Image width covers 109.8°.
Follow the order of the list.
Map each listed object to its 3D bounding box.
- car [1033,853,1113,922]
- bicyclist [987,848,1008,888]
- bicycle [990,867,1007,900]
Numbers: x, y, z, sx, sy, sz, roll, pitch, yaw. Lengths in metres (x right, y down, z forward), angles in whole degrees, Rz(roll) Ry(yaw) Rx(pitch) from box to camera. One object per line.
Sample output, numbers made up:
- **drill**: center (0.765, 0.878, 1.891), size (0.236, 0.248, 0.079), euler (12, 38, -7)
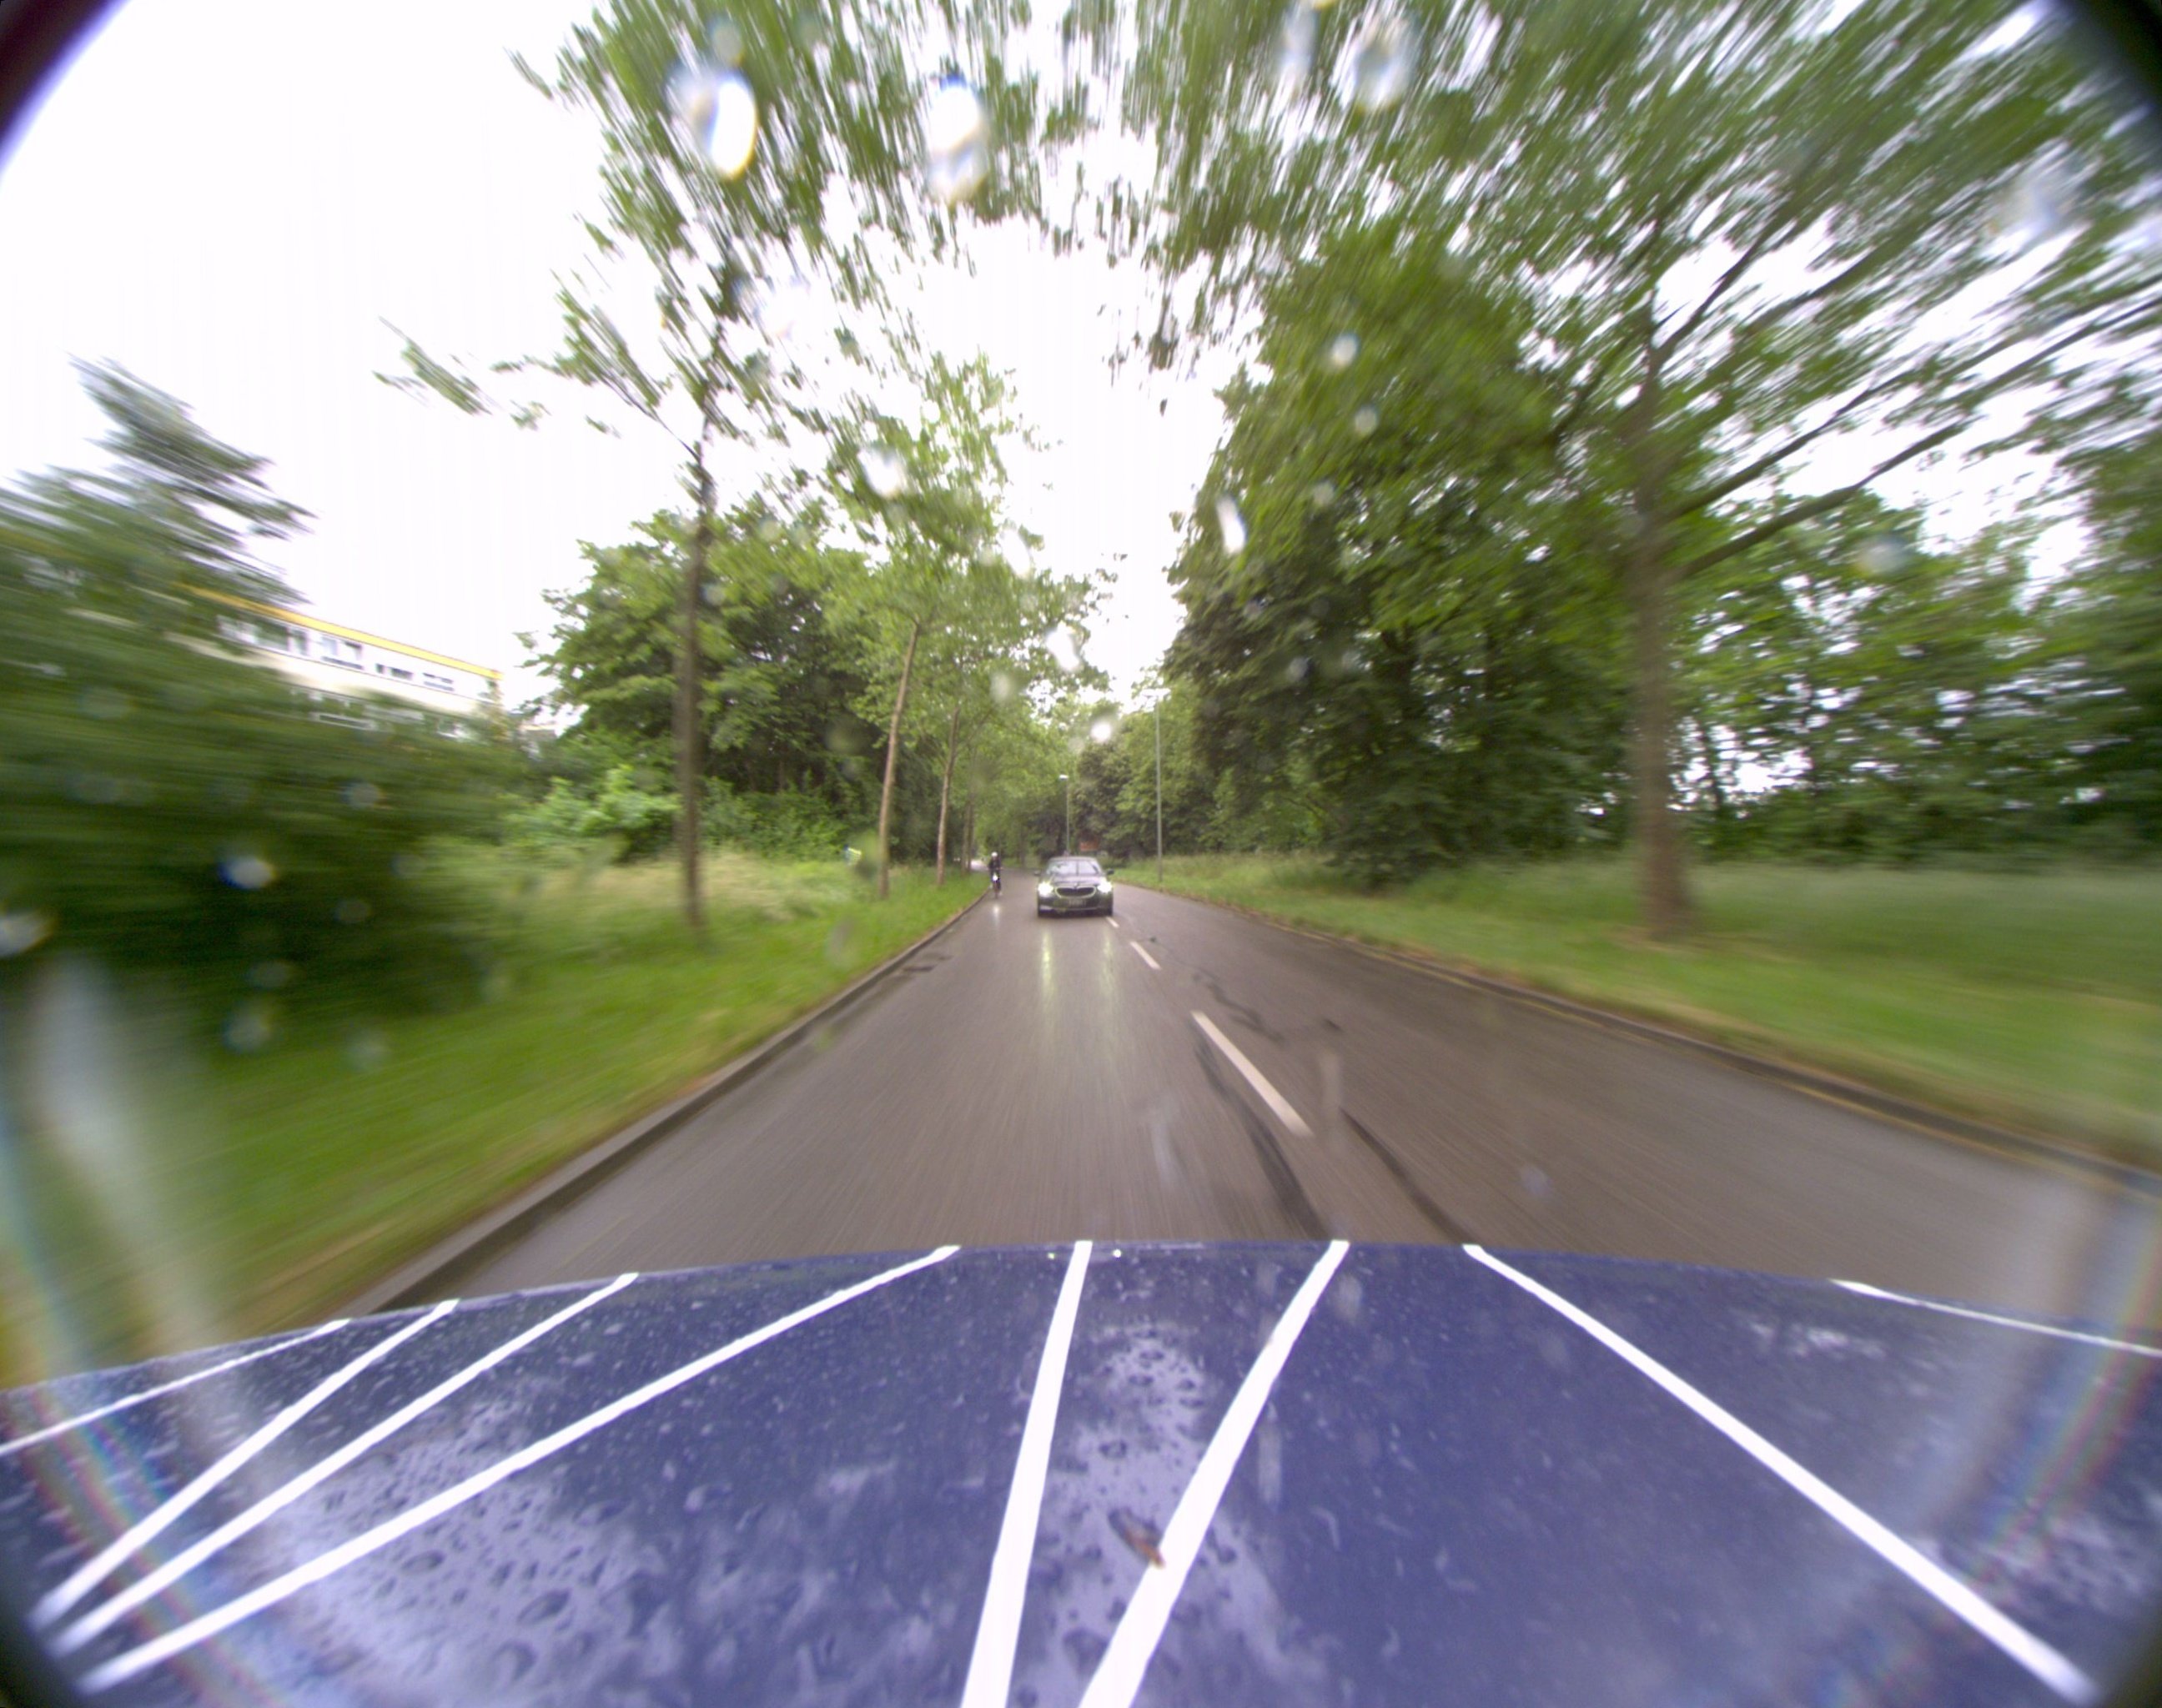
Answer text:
- **car**: center (-0.108, 0.797, 20.547), size (1.843, 1.486, 4.901), euler (-3, 1, 2)
- **bicyclist**: center (-3.197, 0.526, 29.265), size (0.698, 1.489, 0.800), euler (-2, 1, -1)
- **bicycle**: center (-3.156, 1.111, 29.150), size (0.453, 1.127, 1.833), euler (-2, 1, -1)
